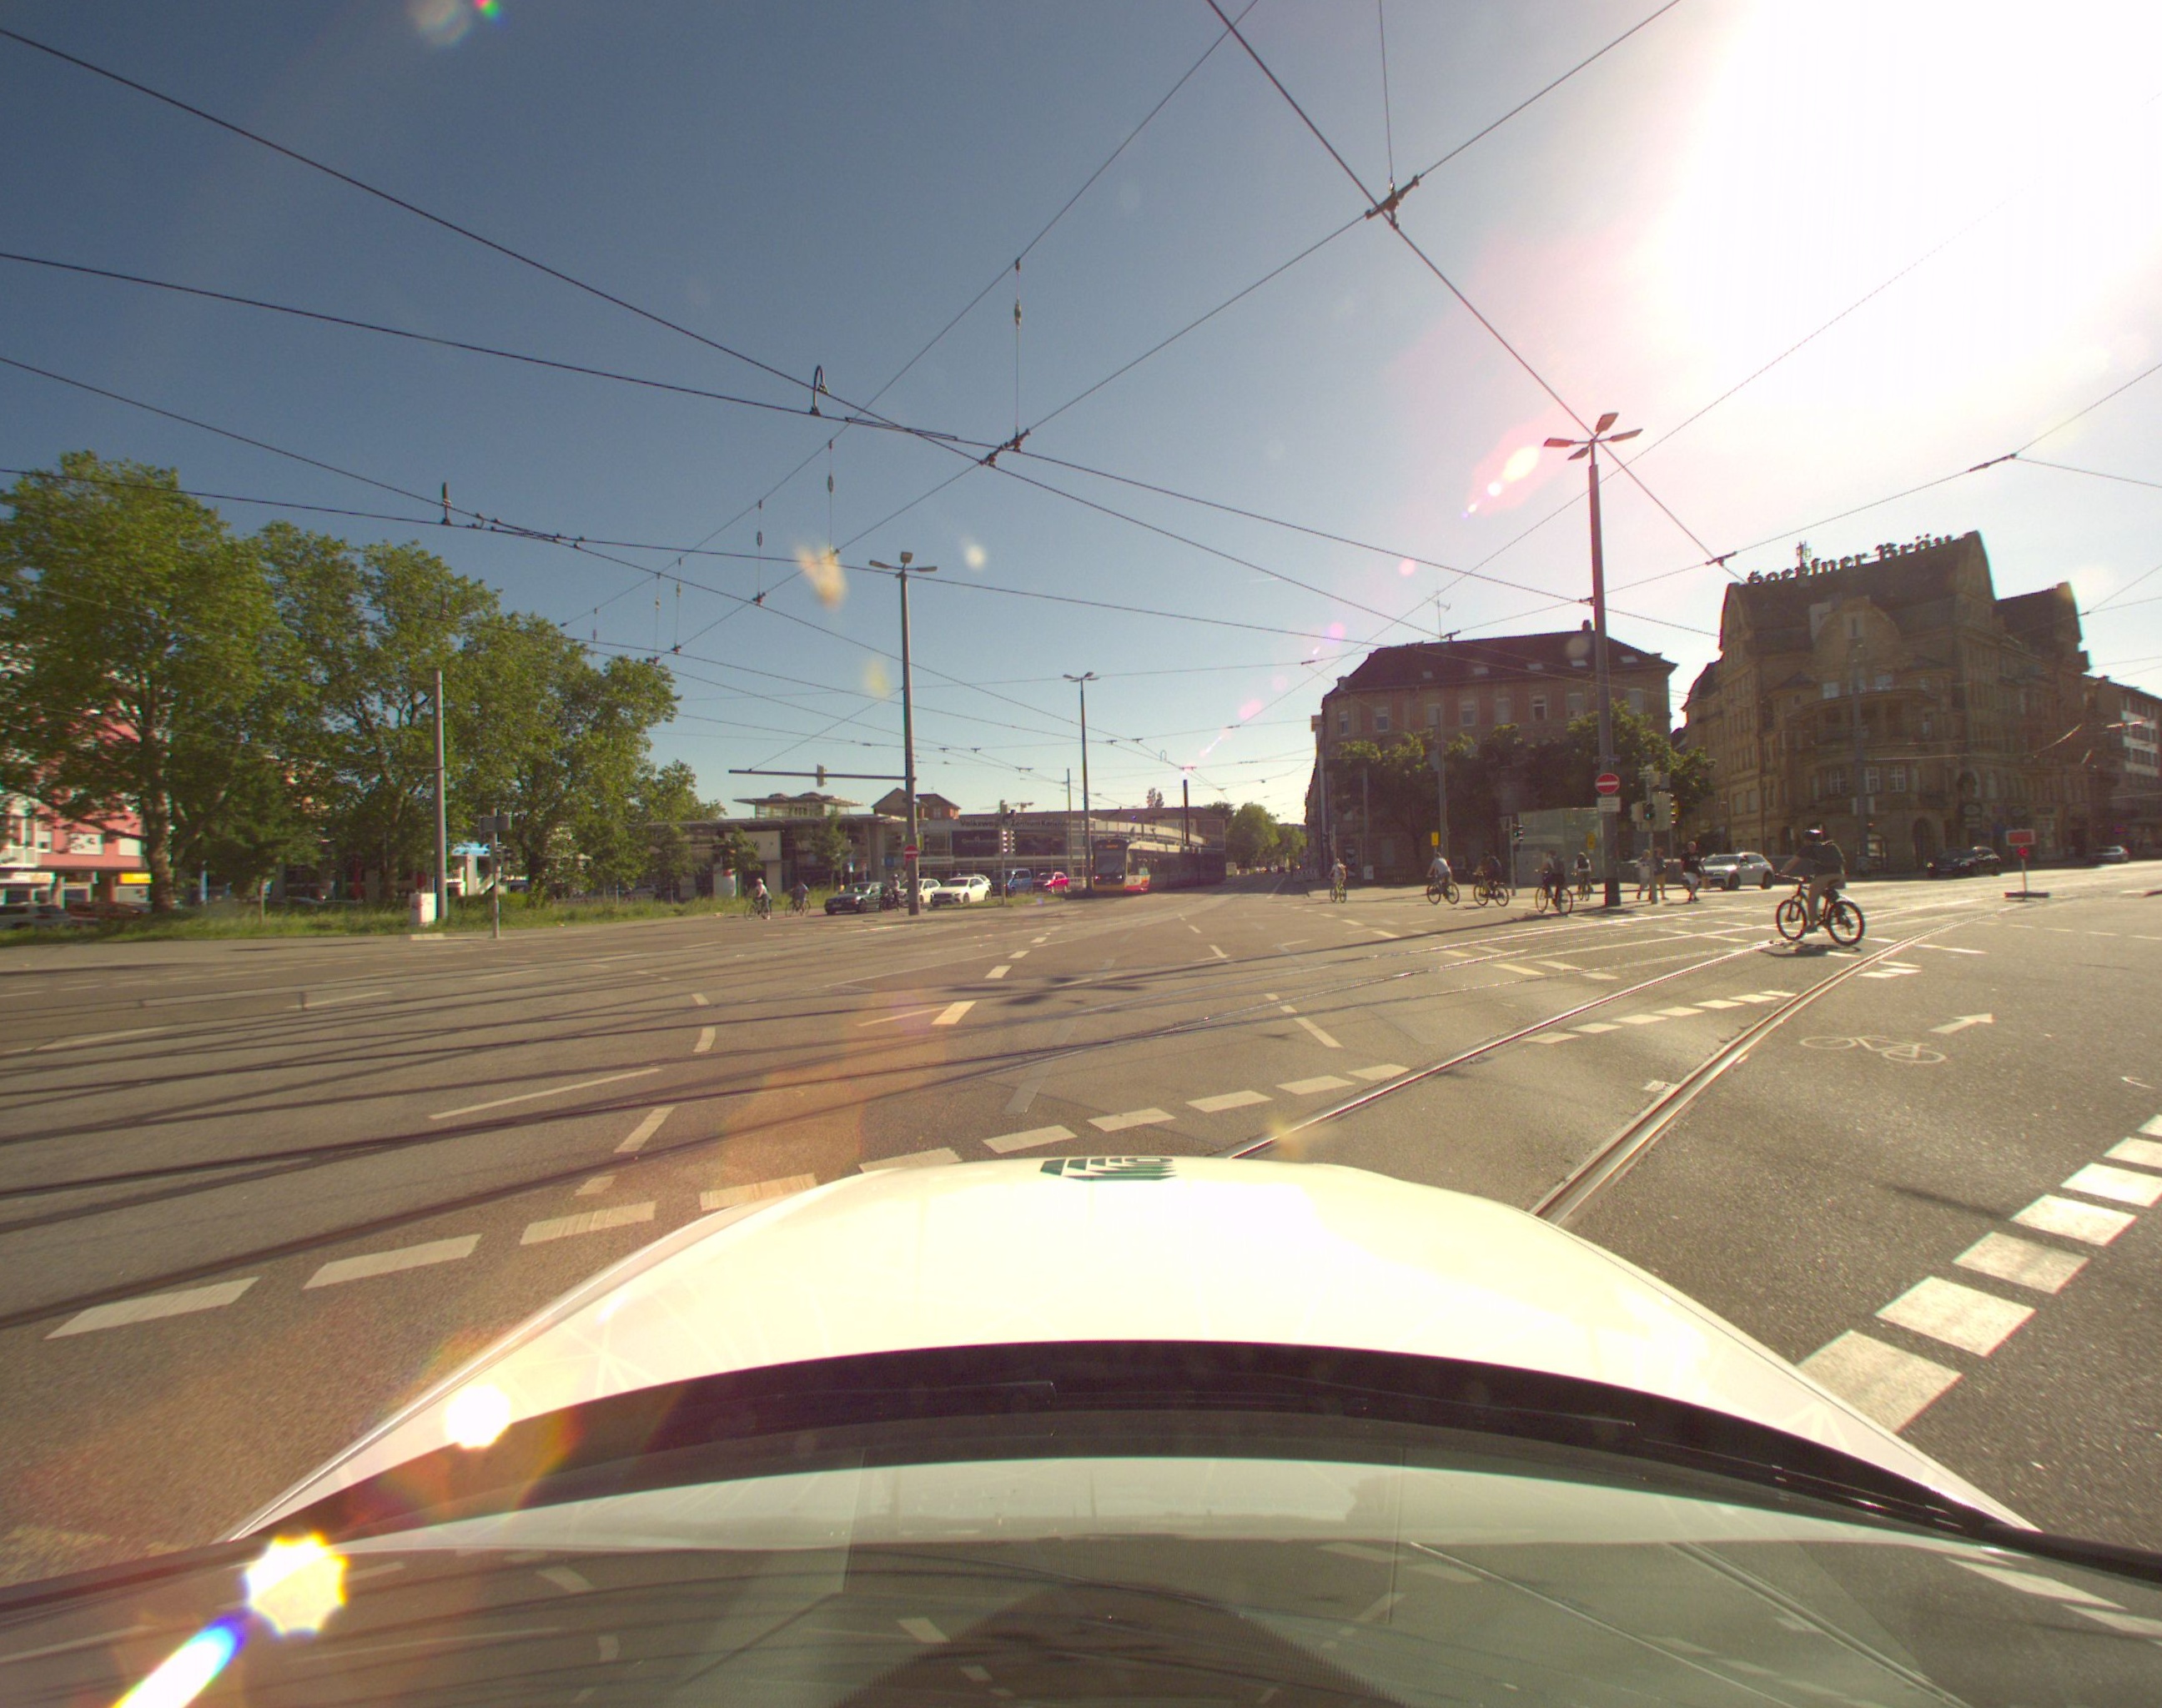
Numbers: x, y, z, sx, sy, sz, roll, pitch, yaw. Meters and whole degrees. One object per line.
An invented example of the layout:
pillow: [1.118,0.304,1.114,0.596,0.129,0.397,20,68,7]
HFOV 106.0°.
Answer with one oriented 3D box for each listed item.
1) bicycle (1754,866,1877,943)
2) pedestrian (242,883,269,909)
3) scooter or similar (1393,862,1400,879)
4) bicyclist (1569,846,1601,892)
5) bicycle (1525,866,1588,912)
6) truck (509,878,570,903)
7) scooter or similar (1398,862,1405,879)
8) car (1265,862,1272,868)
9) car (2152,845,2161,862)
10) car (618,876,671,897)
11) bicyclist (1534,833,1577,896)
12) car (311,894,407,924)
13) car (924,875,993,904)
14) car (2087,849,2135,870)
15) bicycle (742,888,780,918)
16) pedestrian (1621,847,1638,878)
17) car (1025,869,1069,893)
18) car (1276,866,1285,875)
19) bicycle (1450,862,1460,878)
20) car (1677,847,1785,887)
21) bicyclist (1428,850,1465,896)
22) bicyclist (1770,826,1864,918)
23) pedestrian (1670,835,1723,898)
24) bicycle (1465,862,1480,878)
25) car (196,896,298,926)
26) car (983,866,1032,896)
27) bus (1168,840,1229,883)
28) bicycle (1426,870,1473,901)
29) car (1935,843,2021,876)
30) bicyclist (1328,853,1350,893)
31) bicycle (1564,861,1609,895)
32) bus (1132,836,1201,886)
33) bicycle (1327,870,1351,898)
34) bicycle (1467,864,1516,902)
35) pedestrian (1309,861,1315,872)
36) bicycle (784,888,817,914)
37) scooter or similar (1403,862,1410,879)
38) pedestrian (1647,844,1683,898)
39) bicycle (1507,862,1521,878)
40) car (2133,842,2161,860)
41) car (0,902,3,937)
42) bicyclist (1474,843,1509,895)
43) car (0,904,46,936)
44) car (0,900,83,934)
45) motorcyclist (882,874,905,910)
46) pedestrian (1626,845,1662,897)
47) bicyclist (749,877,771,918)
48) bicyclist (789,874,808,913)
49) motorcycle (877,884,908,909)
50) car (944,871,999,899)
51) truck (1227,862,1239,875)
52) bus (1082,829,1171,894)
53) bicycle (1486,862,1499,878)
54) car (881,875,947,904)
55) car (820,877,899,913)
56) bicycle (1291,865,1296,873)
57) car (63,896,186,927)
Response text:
bicycle: [11.949,0.789,13.329,0.528,1.159,1.870,-1,-1,9]
pedestrian: [-65.031,3.326,64.143,1.110,2.014,1.167,1,-2,-26]
scooter or similar: [21.680,1.144,55.992,0.268,1.185,1.571,-1,-2,16]
bicyclist: [17.858,0.530,28.857,0.595,1.613,0.954,0,-2,6]
bicycle: [12.506,0.896,21.469,0.530,1.117,1.933,0,0,0]
truck: [-49.899,3.324,75.078,4.188,2.221,2.000,0,-1,1]
scooter or similar: [21.987,1.142,55.923,0.268,1.185,1.571,-1,-2,16]
car: [51.839,3.088,225.065,1.745,1.697,4.161,-1,-1,16]
car: [109.678,-0.066,81.880,4.026,1.621,1.737,0,-3,-29]
car: [-42.526,3.119,79.401,3.981,2.014,1.996,0,-1,-5]
bicyclist: [12.503,0.287,21.483,0.548,1.613,0.952,0,-2,0]
car: [-43.845,3.309,49.531,3.841,1.631,1.995,-1,-3,-7]
car: [-6.184,1.774,41.714,1.789,1.432,4.559,0,-1,16]
car: [86.706,0.470,68.553,4.026,1.621,1.737,0,-3,-29]
bicycle: [-13.823,2.101,35.235,0.534,1.184,1.761,-3,-1,15]
pedestrian: [32.748,0.503,48.633,0.651,1.849,0.542,1,-2,-28]
car: [-2.577,2.072,62.758,1.784,1.719,4.438,-3,-2,20]
car: [45.676,3.870,186.357,1.979,2.014,4.016,0,-1,15]
bicycle: [25.370,1.109,55.298,0.400,1.061,1.357,-1,-1,16]
car: [28.610,0.581,35.840,4.256,1.621,1.903,-1,-3,-24]
bicyclist: [12.923,0.669,28.826,0.783,1.593,0.882,-1,-1,-12]
bicyclist: [11.926,0.292,13.236,0.669,1.421,1.039,0,-2,10]
pedestrian: [19.158,0.387,25.381,0.924,1.930,1.052,0,-2,11]
bicycle: [26.421,1.102,54.982,0.402,1.061,1.352,0,-1,0]
car: [-49.978,3.394,48.893,3.841,1.631,1.995,-1,-3,-7]
car: [-4.969,1.823,55.592,1.788,1.933,4.183,-3,-2,17]
bus: [10.912,0.722,74.628,2.816,3.590,11.330,-2,-1,22]
bicycle: [12.976,1.099,28.763,0.386,1.069,1.925,-2,-1,-13]
car: [50.312,0.308,45.662,4.256,1.687,1.903,-1,-3,-24]
bicyclist: [11.013,0.824,34.807,0.678,1.684,1.121,0,-2,5]
bicycle: [17.838,0.843,28.759,0.529,1.117,1.936,0,1,5]
bus: [6.943,0.580,64.279,2.817,3.590,10.778,-2,-1,20]
bicycle: [11.005,1.273,34.789,0.529,1.117,1.936,0,1,5]
bicycle: [12.873,0.908,25.608,0.530,1.118,1.933,-2,-2,1]
pedestrian: [35.226,1.940,124.036,0.792,1.605,0.655,-2,-2,17]
bicycle: [-12.693,2.115,36.860,0.534,1.074,1.661,-3,-1,15]
scooter or similar: [22.303,1.140,55.832,0.268,1.196,1.571,-1,-2,16]
pedestrian: [19.349,0.557,27.012,0.655,1.757,0.826,0,-2,11]
bicycle: [28.916,1.067,54.392,0.401,1.061,1.465,0,-1,9]
car: [103.980,-0.257,78.977,4.026,1.621,1.737,0,-3,-29]
car: [-50.040,2.959,34.973,4.004,1.565,1.985,-1,-1,-23]
bicyclist: [12.827,0.467,25.491,0.621,1.613,0.981,0,-2,2]
car: [-51.042,3.100,37.296,4.004,1.389,1.985,-1,-1,-23]
car: [-51.961,3.090,39.507,4.005,1.499,1.984,-1,-1,-23]
motorcyclist: [-8.456,1.687,36.791,0.580,1.580,0.947,-3,-2,16]
pedestrian: [18.305,0.550,26.505,0.655,1.677,0.826,0,-2,11]
bicyclist: [-13.857,1.881,35.166,0.569,1.742,0.681,0,0,16]
bicyclist: [-12.740,1.765,36.729,0.570,1.742,0.604,0,0,15]
motorcycle: [-8.488,1.895,36.784,0.514,1.047,1.755,-3,-1,17]
car: [-6.692,1.894,50.191,1.789,1.578,4.182,-3,-2,15]
truck: [34.215,3.281,182.797,2.521,2.830,6.395,0,-1,11]
bus: [3.272,0.524,52.533,2.820,3.590,13.549,-2,-1,15]
bicycle: [27.864,1.114,55.154,0.400,1.061,1.466,0,-1,11]
car: [-8.810,1.870,43.375,1.789,1.432,4.016,0,-1,16]
car: [-10.139,1.854,37.541,1.637,1.479,3.987,-3,-2,15]
bicycle: [31.220,2.208,119.504,0.676,1.114,2.717,0,-1,15]
car: [-54.135,3.214,46.199,4.005,1.499,1.984,-1,-1,-23]
